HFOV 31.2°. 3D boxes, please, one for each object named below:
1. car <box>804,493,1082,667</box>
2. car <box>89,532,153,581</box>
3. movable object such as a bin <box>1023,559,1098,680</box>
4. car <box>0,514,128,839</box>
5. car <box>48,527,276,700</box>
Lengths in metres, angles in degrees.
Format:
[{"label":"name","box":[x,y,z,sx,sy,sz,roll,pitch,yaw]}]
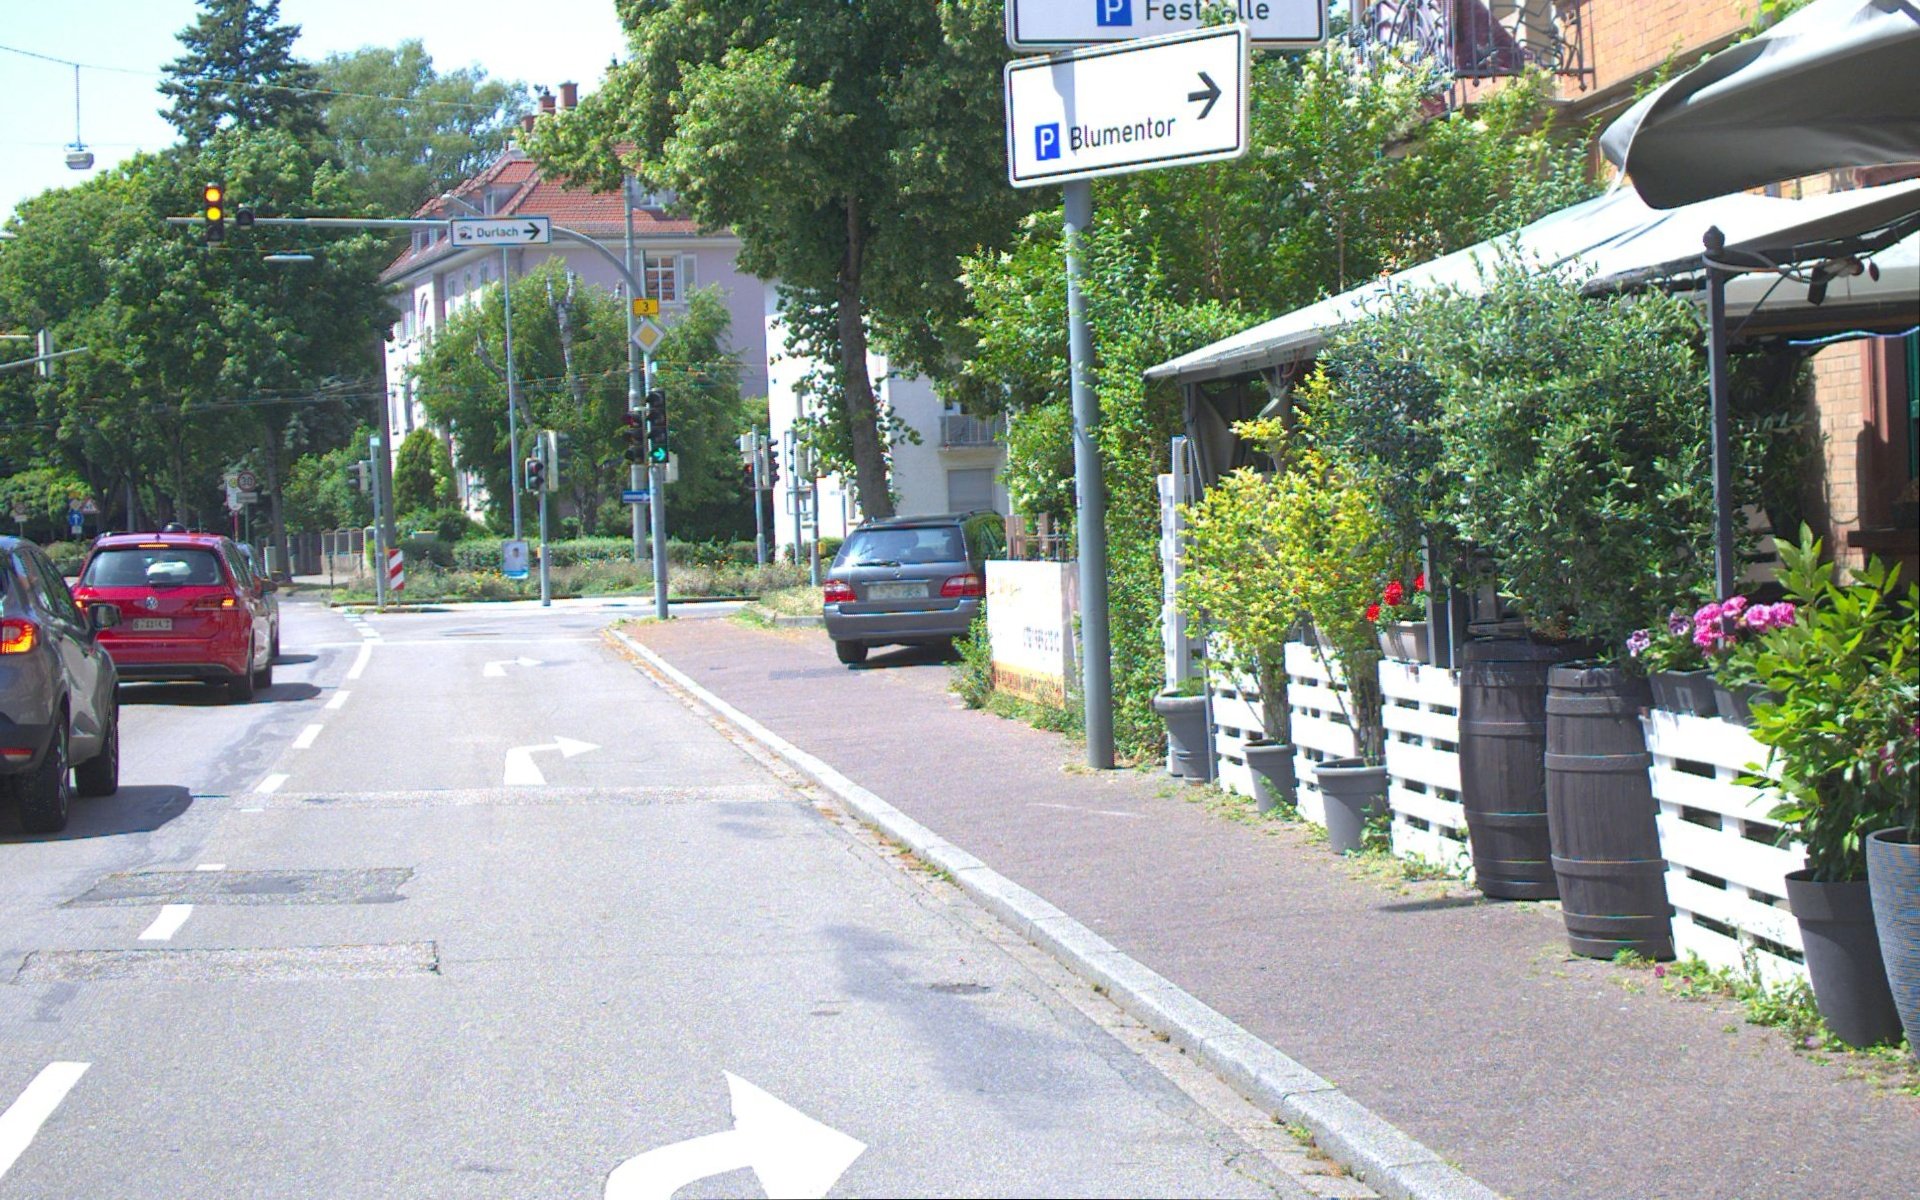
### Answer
[{"label":"car","box":[-0.082,-0.274,36.335,1.835,1.543,5.154,-2,2,12]},{"label":"car","box":[-33.430,-1.757,136.944,1.993,1.900,4.001,-1,1,-21]},{"label":"movable object such as a bin","box":[0.915,0.176,31.300,0.649,1.067,0.637,-1,1,2]},{"label":"car","box":[-5.753,0.356,19.106,1.753,1.626,4.001,-1,1,-8]},{"label":"car","box":[-7.692,0.092,33.450,1.798,1.552,4.038,-1,1,-8]}]
